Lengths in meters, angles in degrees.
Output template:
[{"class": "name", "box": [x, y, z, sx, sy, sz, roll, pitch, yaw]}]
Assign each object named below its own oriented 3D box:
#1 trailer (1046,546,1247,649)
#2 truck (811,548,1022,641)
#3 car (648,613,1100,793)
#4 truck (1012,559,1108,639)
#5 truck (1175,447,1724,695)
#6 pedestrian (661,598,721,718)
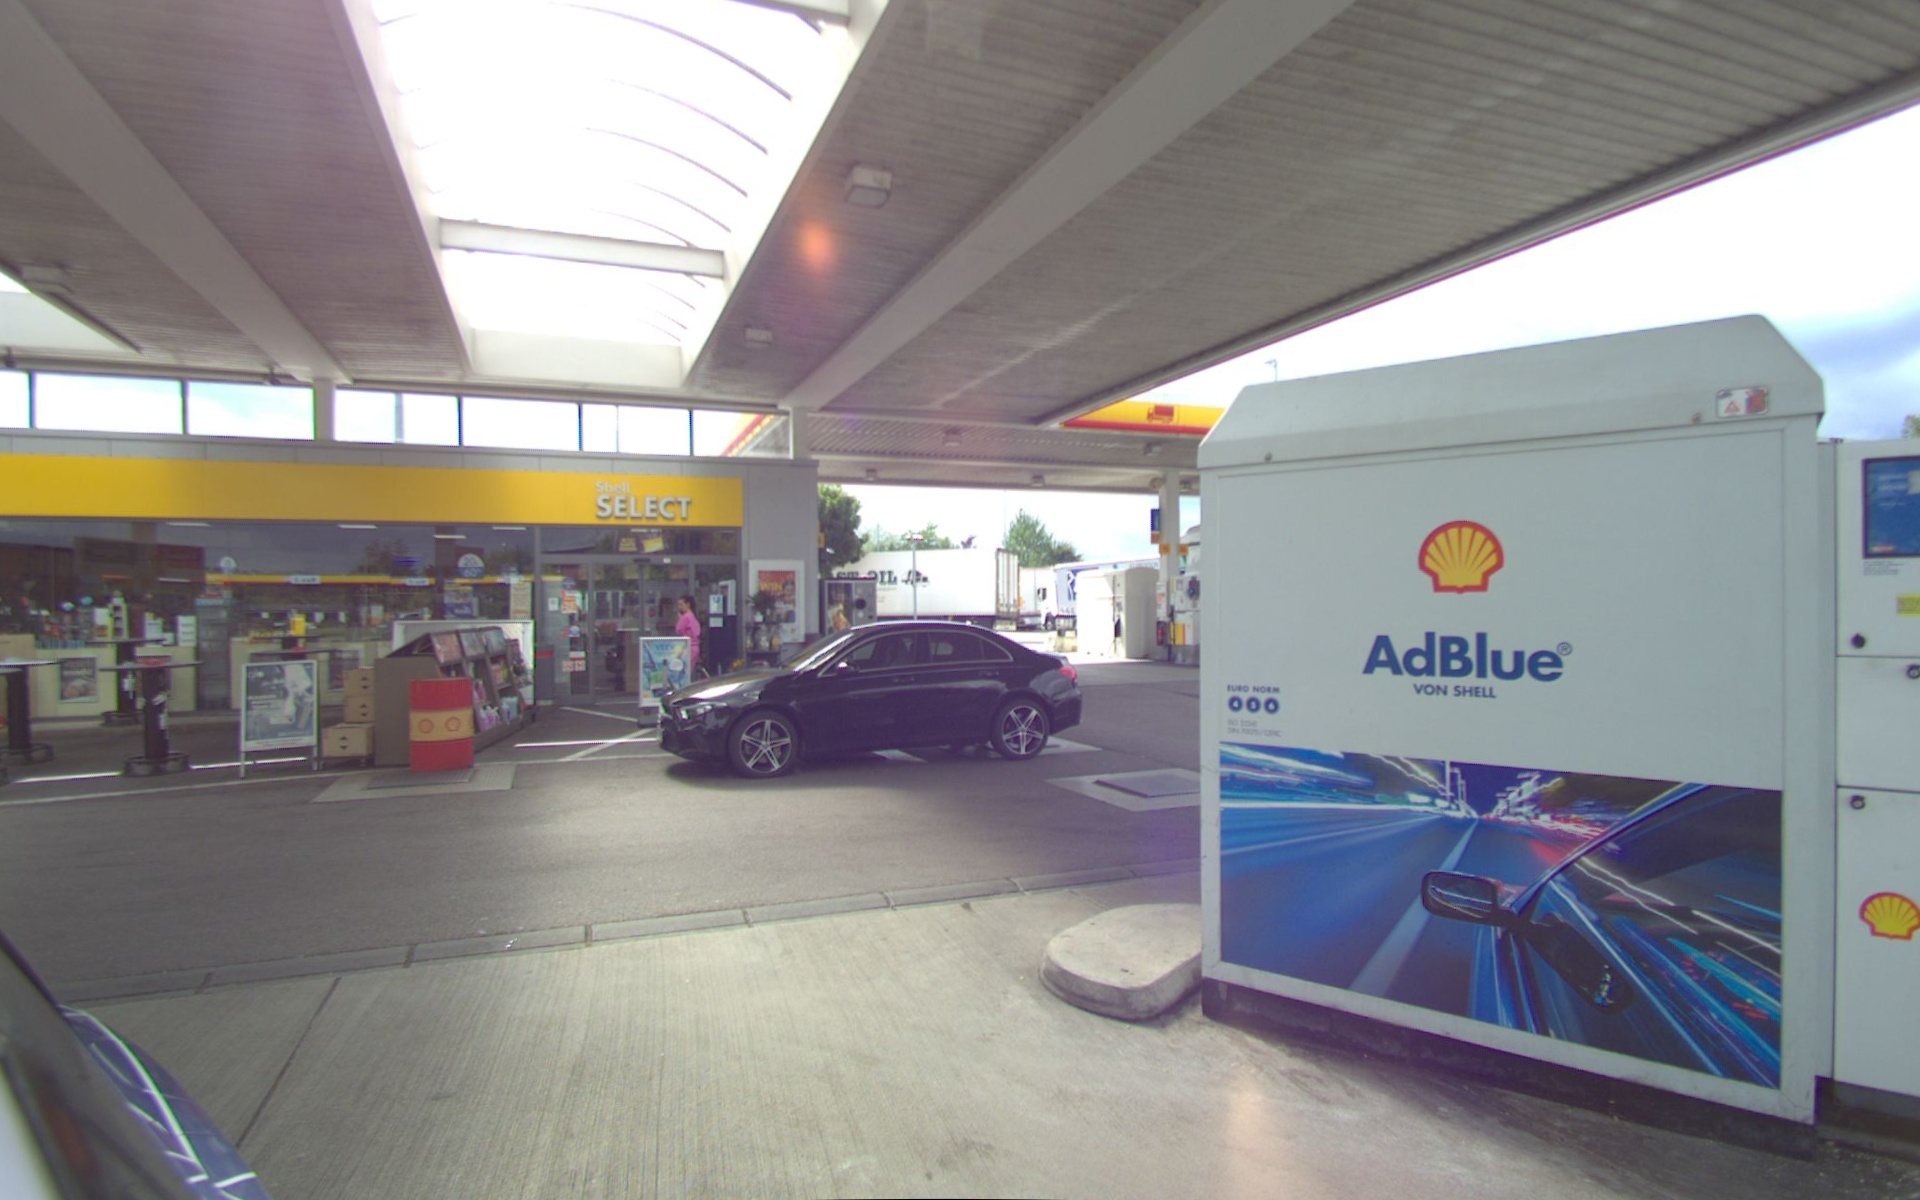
[{"class": "trailer", "box": [9.113, -0.106, 52.666, 3.294, 4.600, 14.397, -1, 0, -20]}, {"class": "truck", "box": [-2.095, -0.185, 46.832, 9.536, 4.036, 2.772, -1, 0, 25]}, {"class": "car", "box": [-0.913, 0.941, 10.672, 4.394, 1.511, 1.785, -1, 0, -21]}, {"class": "truck", "box": [5.935, -0.055, 61.214, 3.333, 4.538, 6.249, -1, 0, -20]}, {"class": "truck", "box": [9.665, -0.468, 23.095, 2.491, 4.069, 12.947, -1, 0, -22]}, {"class": "pedestrian", "box": [-3.994, 0.833, 15.008, 0.623, 1.726, 0.618, -1, 0, 44]}]
